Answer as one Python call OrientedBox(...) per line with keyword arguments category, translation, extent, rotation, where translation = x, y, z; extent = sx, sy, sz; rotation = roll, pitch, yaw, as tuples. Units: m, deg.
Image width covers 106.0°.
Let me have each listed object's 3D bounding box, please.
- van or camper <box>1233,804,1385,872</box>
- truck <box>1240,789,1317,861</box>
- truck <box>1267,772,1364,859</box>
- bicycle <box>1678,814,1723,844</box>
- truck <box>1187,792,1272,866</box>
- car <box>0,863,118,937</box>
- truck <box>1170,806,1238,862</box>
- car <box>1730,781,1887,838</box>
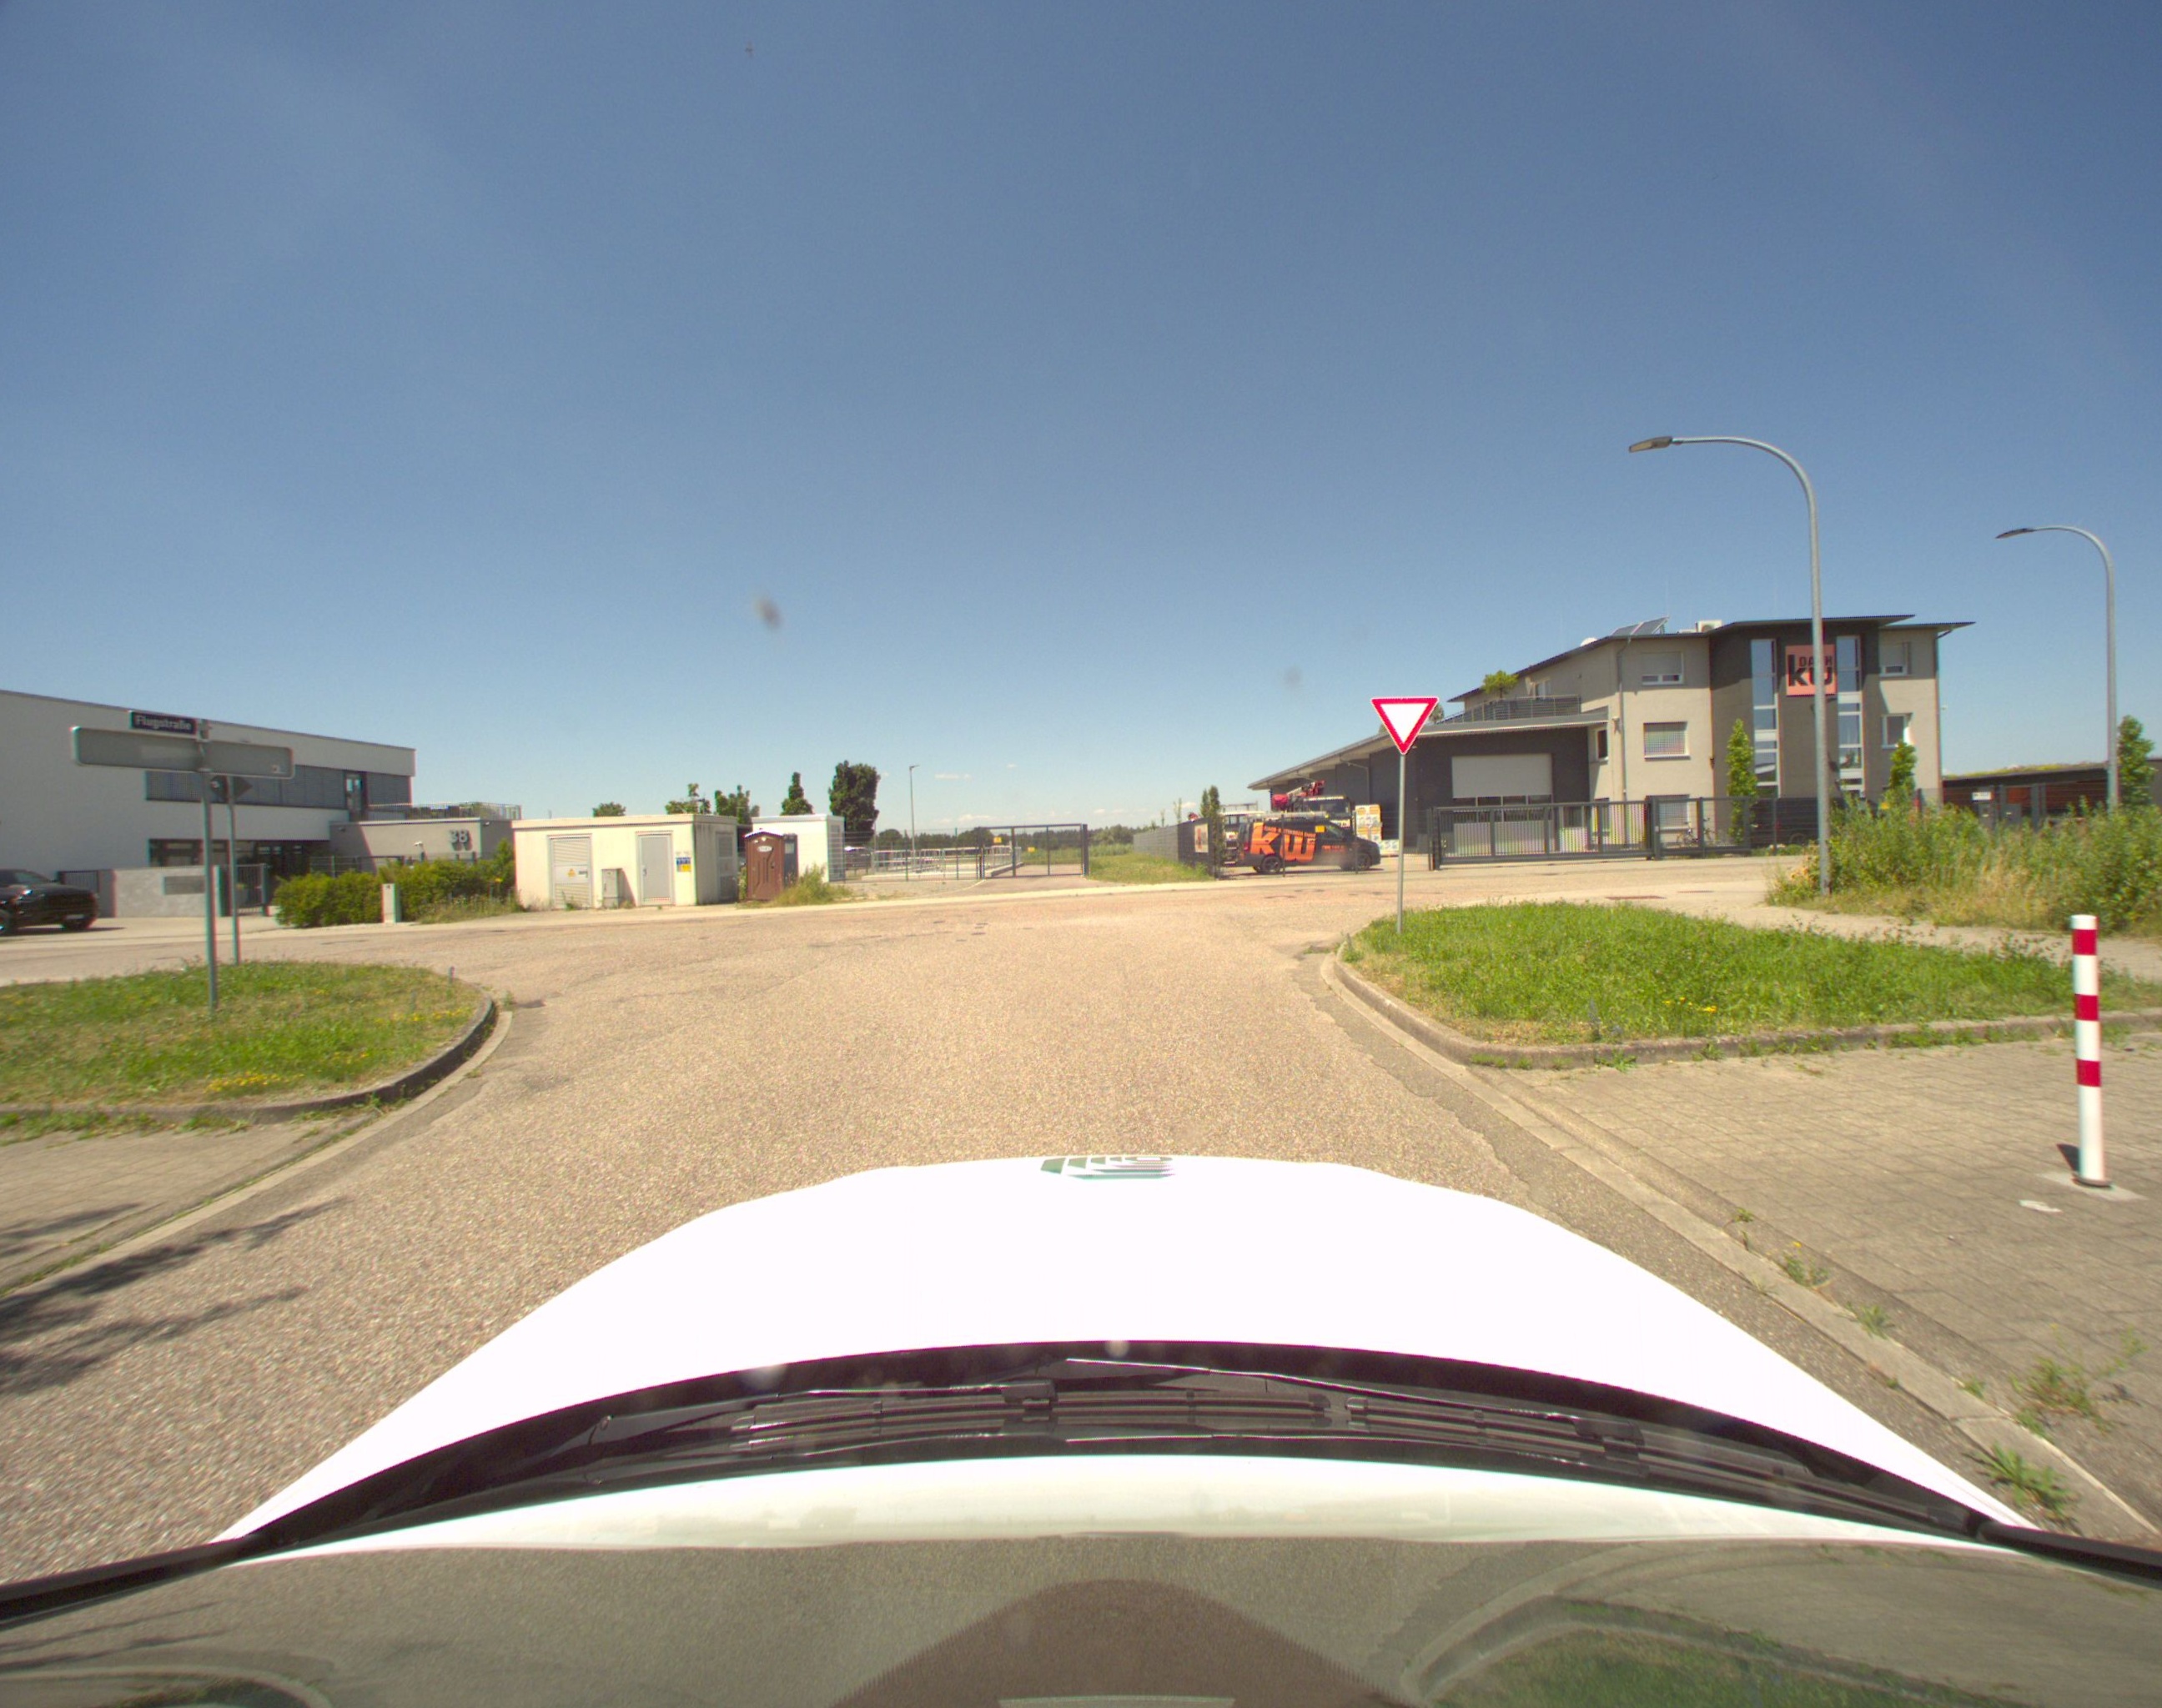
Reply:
OrientedBox(category="van or camper", translation=(8.166, -0.595, 29.492), extent=(4.919, 2.163, 2.000), rotation=(-3, 2, 0))
OrientedBox(category="truck", translation=(11.881, -1.683, 49.630), extent=(2.911, 3.929, 6.937), rotation=(-3, 1, 1))
OrientedBox(category="truck", translation=(11.773, -1.835, 41.586), extent=(2.911, 3.929, 6.937), rotation=(-3, 1, 1))
OrientedBox(category="bicycle", translation=(26.077, -1.056, 34.272), extent=(1.804, 1.185, 0.442), rotation=(-3, 1, -13))
OrientedBox(category="truck", translation=(6.859, -1.125, 38.577), extent=(2.717, 3.061, 6.937), rotation=(-3, 1, 1))
OrientedBox(category="car", translation=(-31.626, 1.390, 23.952), extent=(3.977, 2.013, 1.998), rotation=(-3, 1, -3))
OrientedBox(category="truck", translation=(7.065, -1.138, 47.740), extent=(2.911, 2.937, 6.937), rotation=(-3, 1, 1))
OrientedBox(category="car", translation=(26.861, -1.610, 30.177), extent=(3.972, 1.867, 2.001), rotation=(-3, 1, 1))
